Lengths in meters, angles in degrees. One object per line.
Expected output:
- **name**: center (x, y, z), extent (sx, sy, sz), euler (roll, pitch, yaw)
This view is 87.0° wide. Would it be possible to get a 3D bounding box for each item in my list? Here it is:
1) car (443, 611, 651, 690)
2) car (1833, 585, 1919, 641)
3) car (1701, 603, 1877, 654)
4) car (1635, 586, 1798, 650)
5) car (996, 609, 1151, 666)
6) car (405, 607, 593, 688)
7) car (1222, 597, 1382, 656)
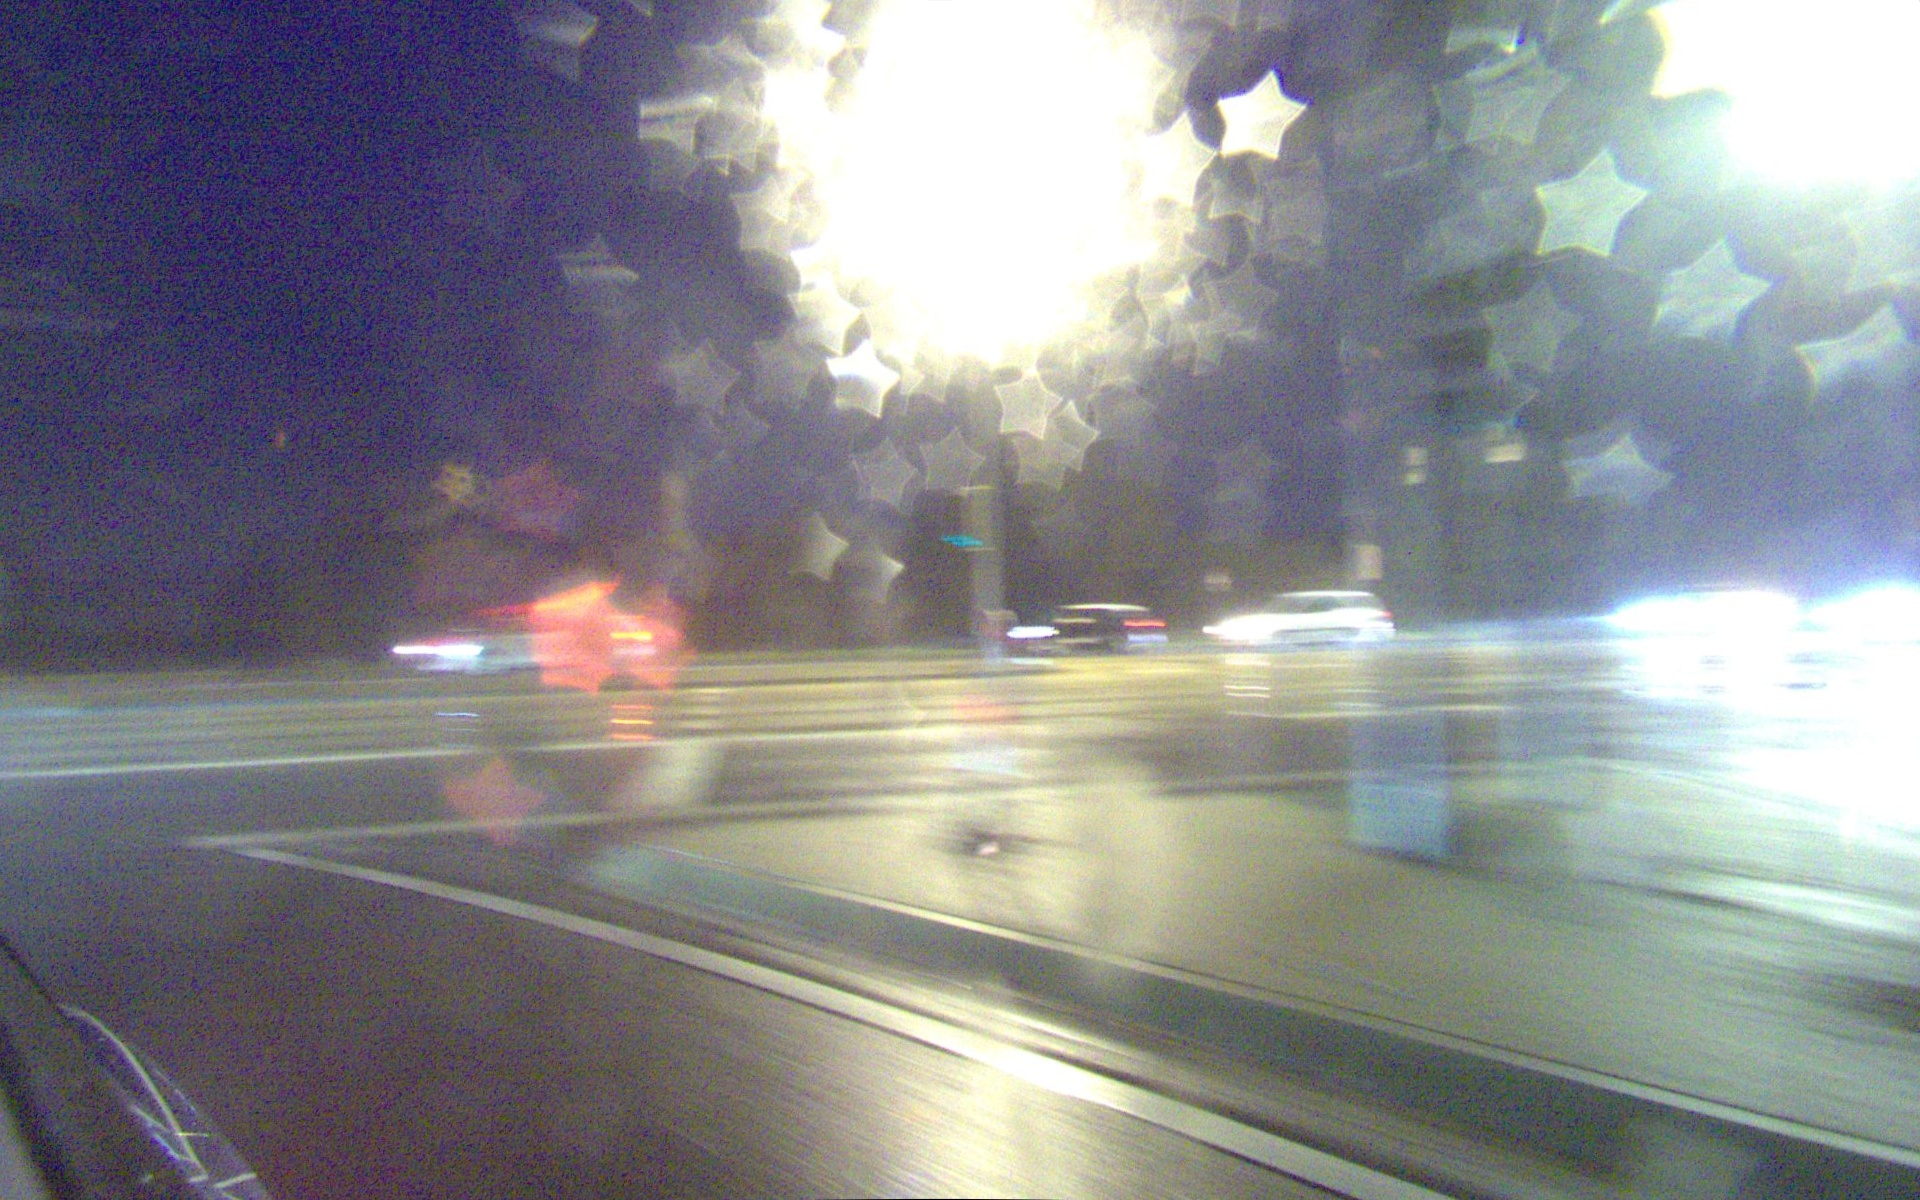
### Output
- **car**: center (-9.410, 1.112, 23.377), extent (4.174, 1.620, 1.791), euler (-1, 0, -10)
- **car**: center (25.486, 0.314, 26.984), extent (3.295, 1.438, 1.598), euler (-1, -1, -11)
- **car**: center (25.001, 0.836, 30.562), extent (4.381, 1.369, 1.655), euler (-1, 0, -11)
- **car**: center (25.424, 0.596, 34.078), extent (4.282, 2.032, 1.899), euler (-1, -1, -10)
- **car**: center (3.228, 1.059, 29.149), extent (4.028, 1.467, 1.859), euler (-1, -1, -12)
- **car**: center (-11.812, 1.190, 26.178), extent (4.136, 1.907, 1.772), euler (-1, -1, -12)
- **car**: center (9.282, 0.709, 27.575), extent (3.756, 1.459, 1.674), euler (-1, -1, -12)
